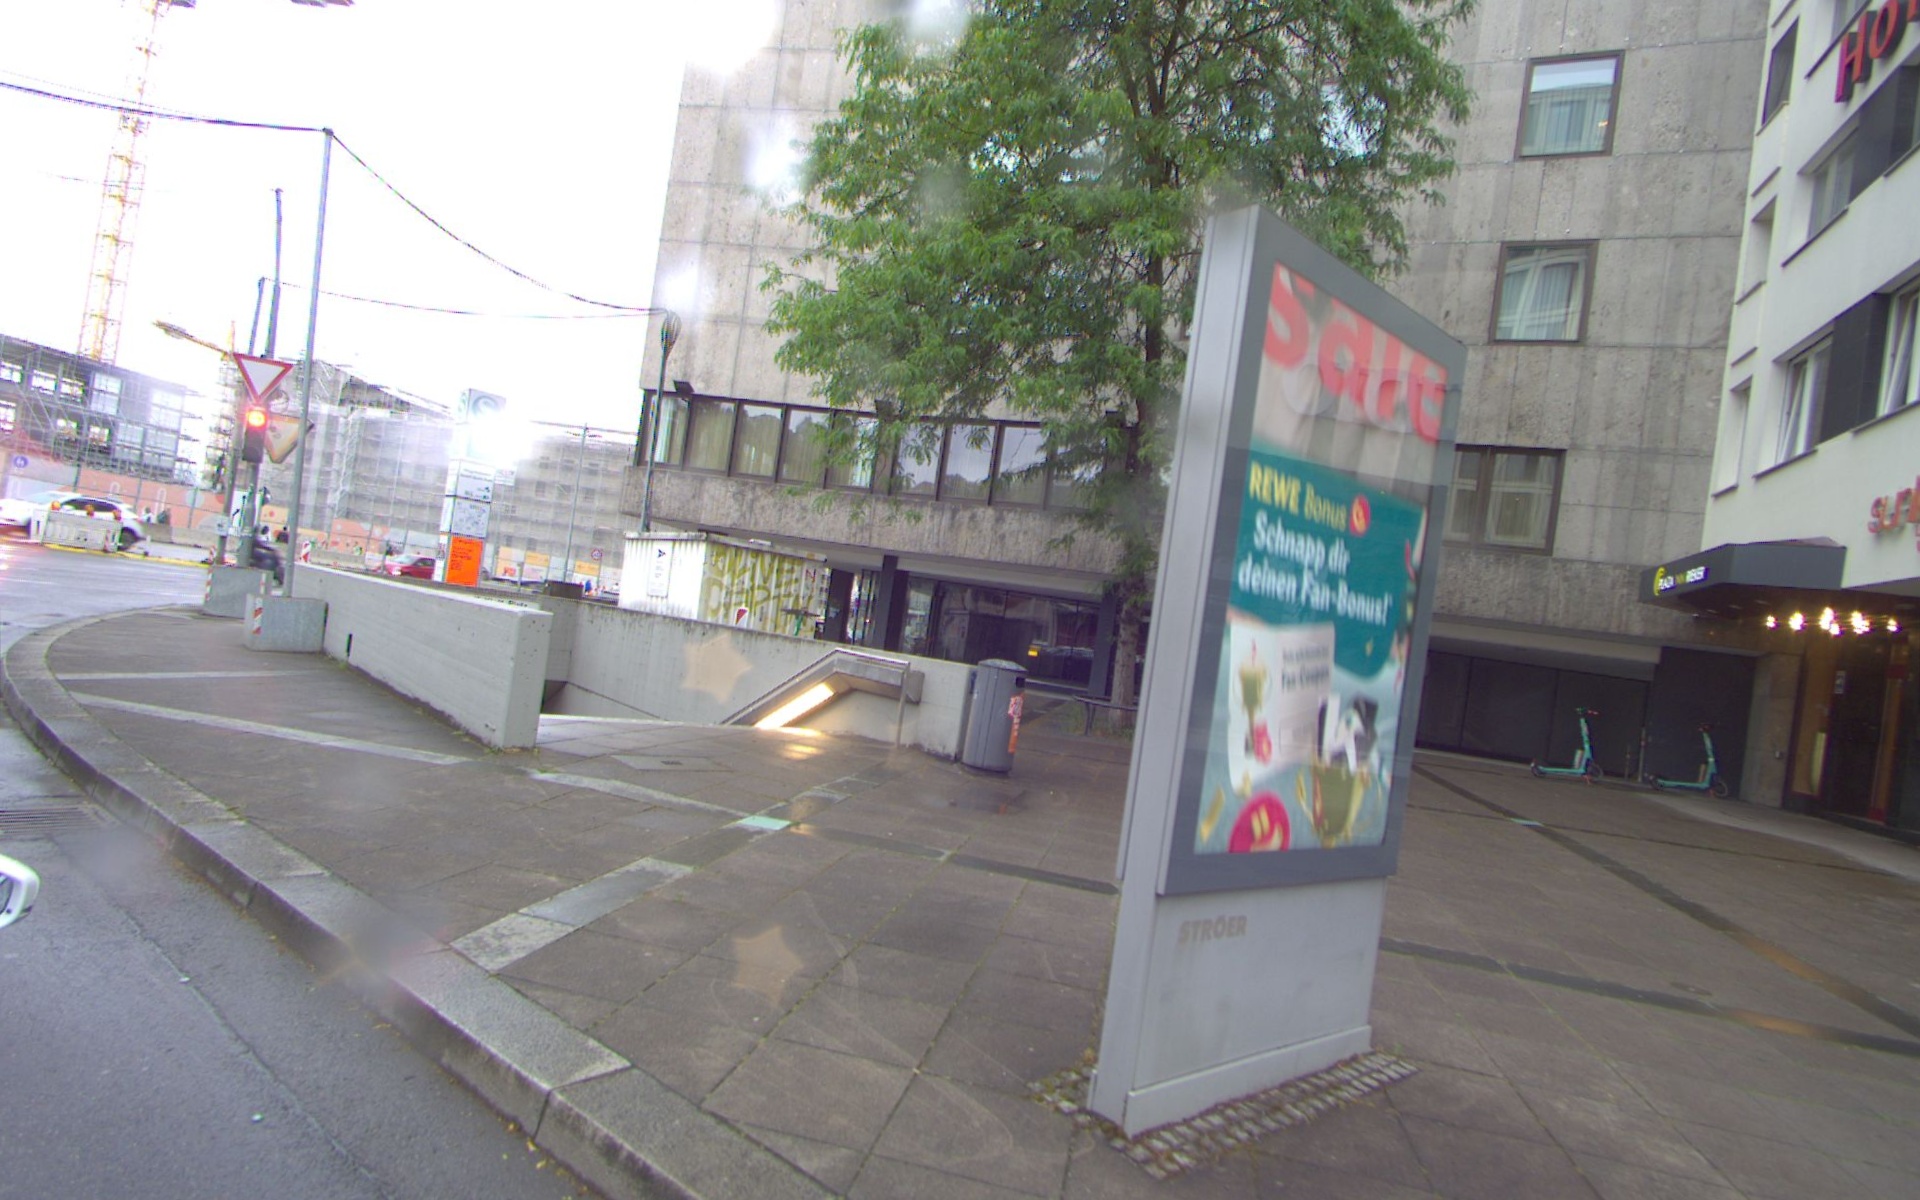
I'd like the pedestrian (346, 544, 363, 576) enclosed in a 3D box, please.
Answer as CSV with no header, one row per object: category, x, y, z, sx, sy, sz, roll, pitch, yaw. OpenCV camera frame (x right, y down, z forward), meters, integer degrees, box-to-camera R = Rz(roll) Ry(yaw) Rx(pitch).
pedestrian,-38.531,-2.561,64.003,0.355,1.919,0.577,7,-2,21

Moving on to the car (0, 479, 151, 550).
car,-29.507,-2.806,33.063,1.962,1.569,4.061,7,-3,13

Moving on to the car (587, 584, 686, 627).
car,-14.708,0.293,46.000,1.964,1.359,4.116,6,-3,24

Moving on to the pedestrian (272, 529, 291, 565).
pedestrian,-37.457,-2.916,55.545,0.355,1.919,0.577,7,-2,21

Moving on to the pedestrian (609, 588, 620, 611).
pedestrian,-29.243,-0.031,85.226,0.355,1.919,0.577,7,-2,21

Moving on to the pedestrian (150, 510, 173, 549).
pedestrian,-40.858,-3.615,51.478,0.355,1.919,0.577,7,-2,21

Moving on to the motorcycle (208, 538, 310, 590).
motorcycle,-19.940,-1.010,28.668,0.836,1.120,2.144,6,-3,25

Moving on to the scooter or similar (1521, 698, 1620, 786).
scooter or similar,10.266,2.371,16.949,1.208,1.269,0.565,7,0,19

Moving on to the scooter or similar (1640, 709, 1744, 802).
scooter or similar,12.278,2.585,16.899,1.208,1.352,0.520,7,-2,19

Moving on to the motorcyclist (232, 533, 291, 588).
motorcyclist,-19.904,-1.129,28.671,0.834,1.373,0.948,6,-3,26

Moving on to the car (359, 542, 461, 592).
car,-26.395,-1.536,48.446,1.962,1.727,4.007,7,-3,14

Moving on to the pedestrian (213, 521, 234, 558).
pedestrian,-40.461,-3.337,55.260,0.355,1.919,0.577,7,-2,19

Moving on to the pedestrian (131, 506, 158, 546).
pedestrian,-42.928,-3.890,52.979,0.620,1.922,0.659,7,-2,18

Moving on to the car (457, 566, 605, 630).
car,-14.588,-0.028,34.380,1.969,1.523,4.105,6,-4,35

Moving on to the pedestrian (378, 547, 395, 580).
pedestrian,-35.580,-2.251,62.432,0.355,1.919,0.577,7,-2,21

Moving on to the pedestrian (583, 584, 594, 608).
pedestrian,-30.844,-0.353,83.511,0.355,1.919,0.577,7,-2,21
